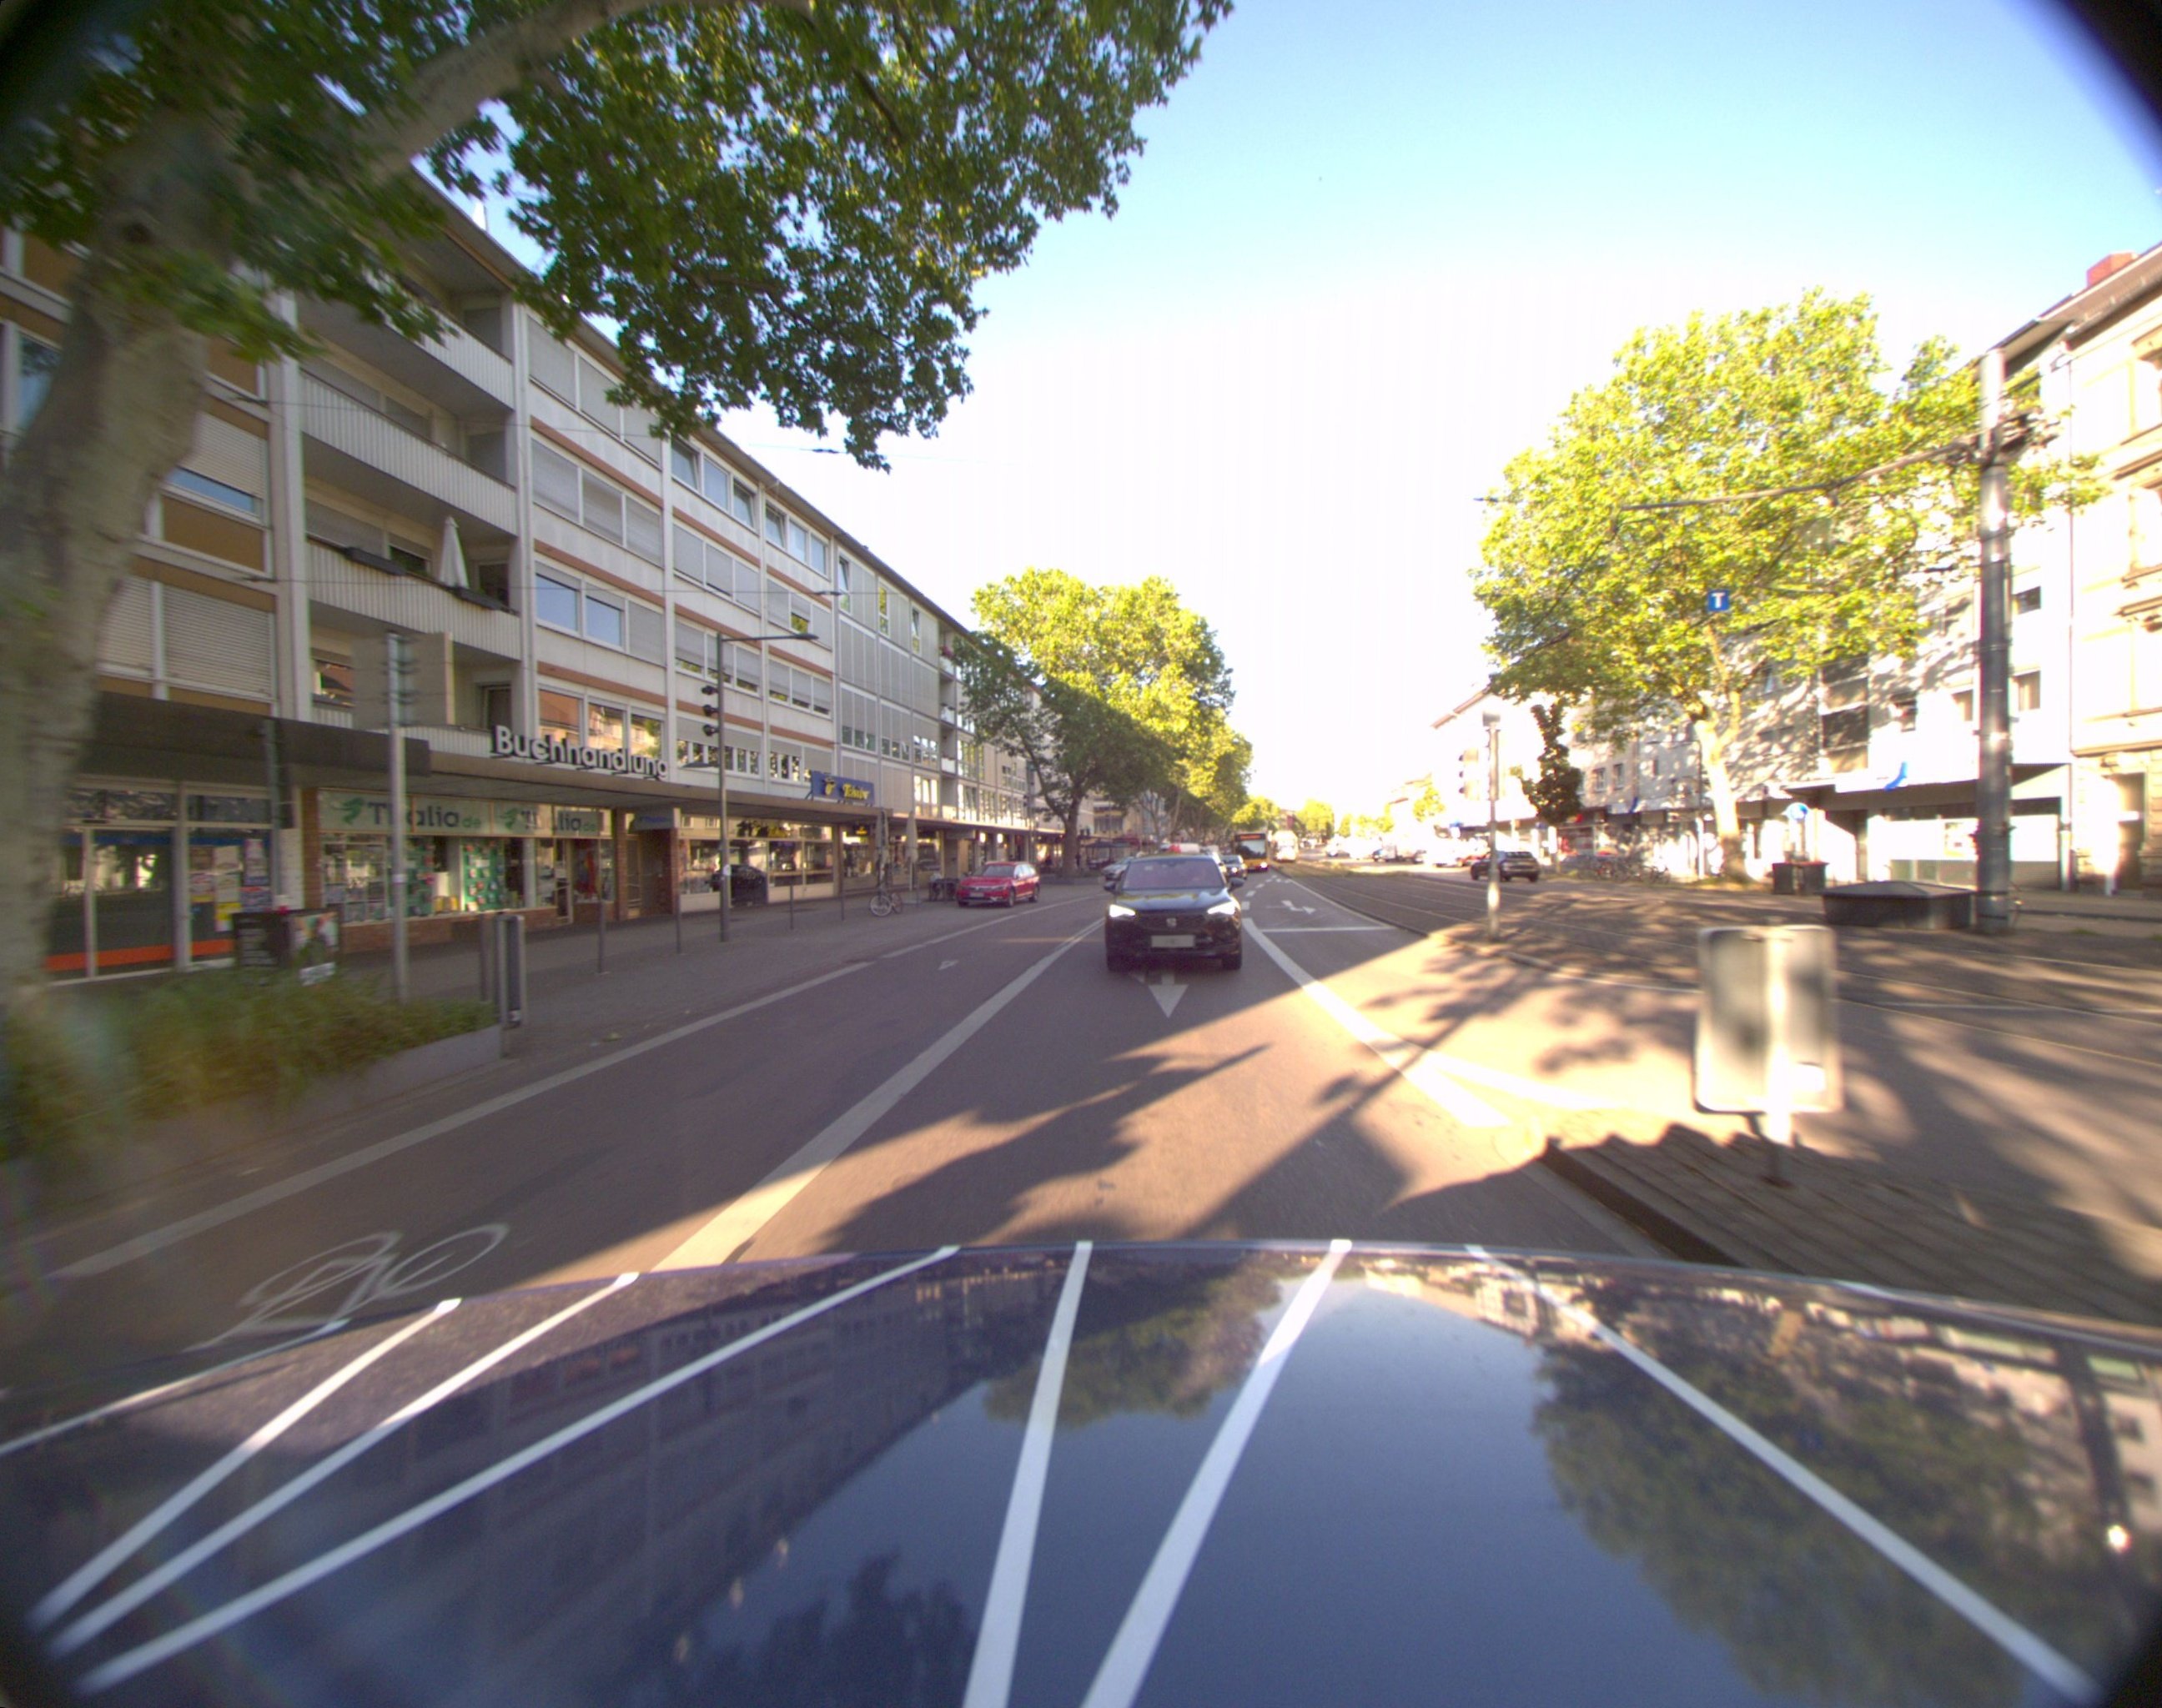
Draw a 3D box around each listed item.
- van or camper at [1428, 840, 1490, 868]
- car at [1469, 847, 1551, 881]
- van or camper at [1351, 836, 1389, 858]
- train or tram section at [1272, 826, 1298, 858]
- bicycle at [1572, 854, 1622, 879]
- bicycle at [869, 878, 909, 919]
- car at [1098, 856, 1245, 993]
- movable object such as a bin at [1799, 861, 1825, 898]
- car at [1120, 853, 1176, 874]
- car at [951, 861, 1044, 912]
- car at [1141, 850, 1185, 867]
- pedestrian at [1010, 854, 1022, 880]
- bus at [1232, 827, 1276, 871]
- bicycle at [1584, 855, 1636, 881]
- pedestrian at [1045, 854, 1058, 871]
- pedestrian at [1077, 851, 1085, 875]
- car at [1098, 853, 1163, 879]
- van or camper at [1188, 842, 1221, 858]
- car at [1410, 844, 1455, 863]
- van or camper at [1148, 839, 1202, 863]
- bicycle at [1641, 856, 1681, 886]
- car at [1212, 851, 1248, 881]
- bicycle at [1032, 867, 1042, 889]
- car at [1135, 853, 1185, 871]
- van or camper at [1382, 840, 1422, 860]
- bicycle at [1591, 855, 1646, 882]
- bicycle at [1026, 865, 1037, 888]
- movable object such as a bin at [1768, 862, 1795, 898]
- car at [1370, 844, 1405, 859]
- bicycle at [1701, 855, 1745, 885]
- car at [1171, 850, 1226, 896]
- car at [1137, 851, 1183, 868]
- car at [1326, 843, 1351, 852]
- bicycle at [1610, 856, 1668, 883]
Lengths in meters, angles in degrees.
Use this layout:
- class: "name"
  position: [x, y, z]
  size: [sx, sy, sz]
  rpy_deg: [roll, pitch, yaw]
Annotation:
- class: "van or camper"
  position: [29.816, -0.020, 59.938]
  size: [4.821, 1.886, 1.947]
  rpy_deg: [-3, 0, -30]
- class: "car"
  position: [19.955, 0.444, 35.552]
  size: [1.889, 1.464, 4.209]
  rpy_deg: [-1, 0, 7]
- class: "van or camper"
  position: [39.835, -0.998, 104.646]
  size: [6.409, 2.651, 1.995]
  rpy_deg: [-3, 0, -40]
- class: "train or tram section"
  position: [23.720, -1.359, 87.966]
  size: [2.635, 3.430, 11.142]
  rpy_deg: [-2, 0, 16]
- class: "bicycle"
  position: [24.708, 0.613, 36.427]
  size: [1.897, 1.118, 0.534]
  rpy_deg: [-2, 1, 10]
- class: "bicycle"
  position: [-5.539, 1.274, 21.985]
  size: [0.512, 1.064, 1.662]
  rpy_deg: [1, 1, 8]
- class: "car"
  position: [1.469, 0.907, 11.547]
  size: [1.807, 1.638, 4.003]
  rpy_deg: [-1, 0, 10]
- class: "movable object such as a bin"
  position: [22.085, 0.771, 22.952]
  size: [0.575, 1.087, 0.476]
  rpy_deg: [-1, 0, -38]
- class: "car"
  position: [5.042, 0.692, 57.295]
  size: [4.006, 1.428, 1.655]
  rpy_deg: [-1, 2, -31]
- class: "car"
  position: [-2.792, 1.047, 26.497]
  size: [1.781, 1.488, 4.572]
  rpy_deg: [1, 1, 13]
- class: "car"
  position: [7.987, 0.419, 73.986]
  size: [4.006, 1.555, 1.656]
  rpy_deg: [-1, 2, -28]
- class: "pedestrian"
  position: [-3.984, 0.816, 46.791]
  size: [0.538, 1.582, 0.687]
  rpy_deg: [1, 2, 12]
- class: "bus"
  position: [13.618, -0.509, 60.701]
  size: [2.869, 2.961, 12.247]
  rpy_deg: [-3, 1, 11]
- class: "bicycle"
  position: [24.476, 0.631, 35.193]
  size: [1.897, 1.118, 0.534]
  rpy_deg: [-2, 1, 10]
- class: "pedestrian"
  position: [-2.330, 0.669, 60.264]
  size: [0.749, 1.354, 0.963]
  rpy_deg: [-1, 1, 17]
- class: "pedestrian"
  position: [0.012, 0.769, 64.813]
  size: [0.552, 2.002, 0.577]
  rpy_deg: [-3, 0, -2]
- class: "car"
  position: [3.308, 0.792, 50.192]
  size: [4.007, 1.597, 1.805]
  rpy_deg: [-1, 1, -36]
- class: "van or camper"
  position: [20.690, -0.656, 127.186]
  size: [5.471, 2.455, 1.995]
  rpy_deg: [-1, 1, -30]
- class: "car"
  position: [32.801, -0.036, 70.885]
  size: [4.458, 1.481, 1.765]
  rpy_deg: [-3, 0, -34]
- class: "van or camper"
  position: [10.043, -0.296, 81.099]
  size: [5.470, 2.455, 1.995]
  rpy_deg: [-1, 1, -28]
- class: "bicycle"
  position: [23.171, 0.651, 30.384]
  size: [0.509, 1.117, 1.913]
  rpy_deg: [-2, 0, 14]
- class: "car"
  position: [8.214, 0.605, 41.764]
  size: [1.657, 1.477, 4.165]
  rpy_deg: [-2, 0, 14]
- class: "bicycle"
  position: [-2.169, 1.171, 37.745]
  size: [0.294, 1.034, 1.718]
  rpy_deg: [2, 1, 3]
- class: "car"
  position: [6.685, 0.636, 64.243]
  size: [4.006, 1.428, 1.656]
  rpy_deg: [-1, 2, -28]
- class: "van or camper"
  position: [35.612, -0.456, 84.215]
  size: [4.458, 1.978, 1.796]
  rpy_deg: [-3, 0, -32]
- class: "bicycle"
  position: [24.321, 0.645, 34.405]
  size: [1.897, 1.118, 0.653]
  rpy_deg: [-2, 1, 10]
- class: "bicycle"
  position: [-2.451, 1.100, 37.759]
  size: [0.294, 1.095, 1.718]
  rpy_deg: [2, 1, 3]
- class: "movable object such as a bin"
  position: [22.144, 0.814, 24.022]
  size: [0.649, 1.087, 0.544]
  rpy_deg: [-1, 0, -38]
- class: "car"
  position: [36.742, -0.284, 91.044]
  size: [4.006, 1.577, 1.875]
  rpy_deg: [-3, 0, -31]
- class: "bicycle"
  position: [25.224, 0.625, 29.886]
  size: [0.509, 1.117, 1.913]
  rpy_deg: [-2, 0, 14]
- class: "car"
  position: [4.581, 0.663, 29.110]
  size: [1.657, 1.571, 4.004]
  rpy_deg: [-2, 0, 14]
- class: "car"
  position: [7.382, 0.507, 70.830]
  size: [4.006, 1.514, 1.656]
  rpy_deg: [-1, 2, -28]
- class: "car"
  position: [46.948, -1.134, 138.577]
  size: [3.916, 1.481, 1.768]
  rpy_deg: [-3, 0, -11]
- class: "bicycle"
  position: [24.000, 0.666, 32.718]
  size: [1.897, 1.118, 0.653]
  rpy_deg: [-2, 1, 10]
